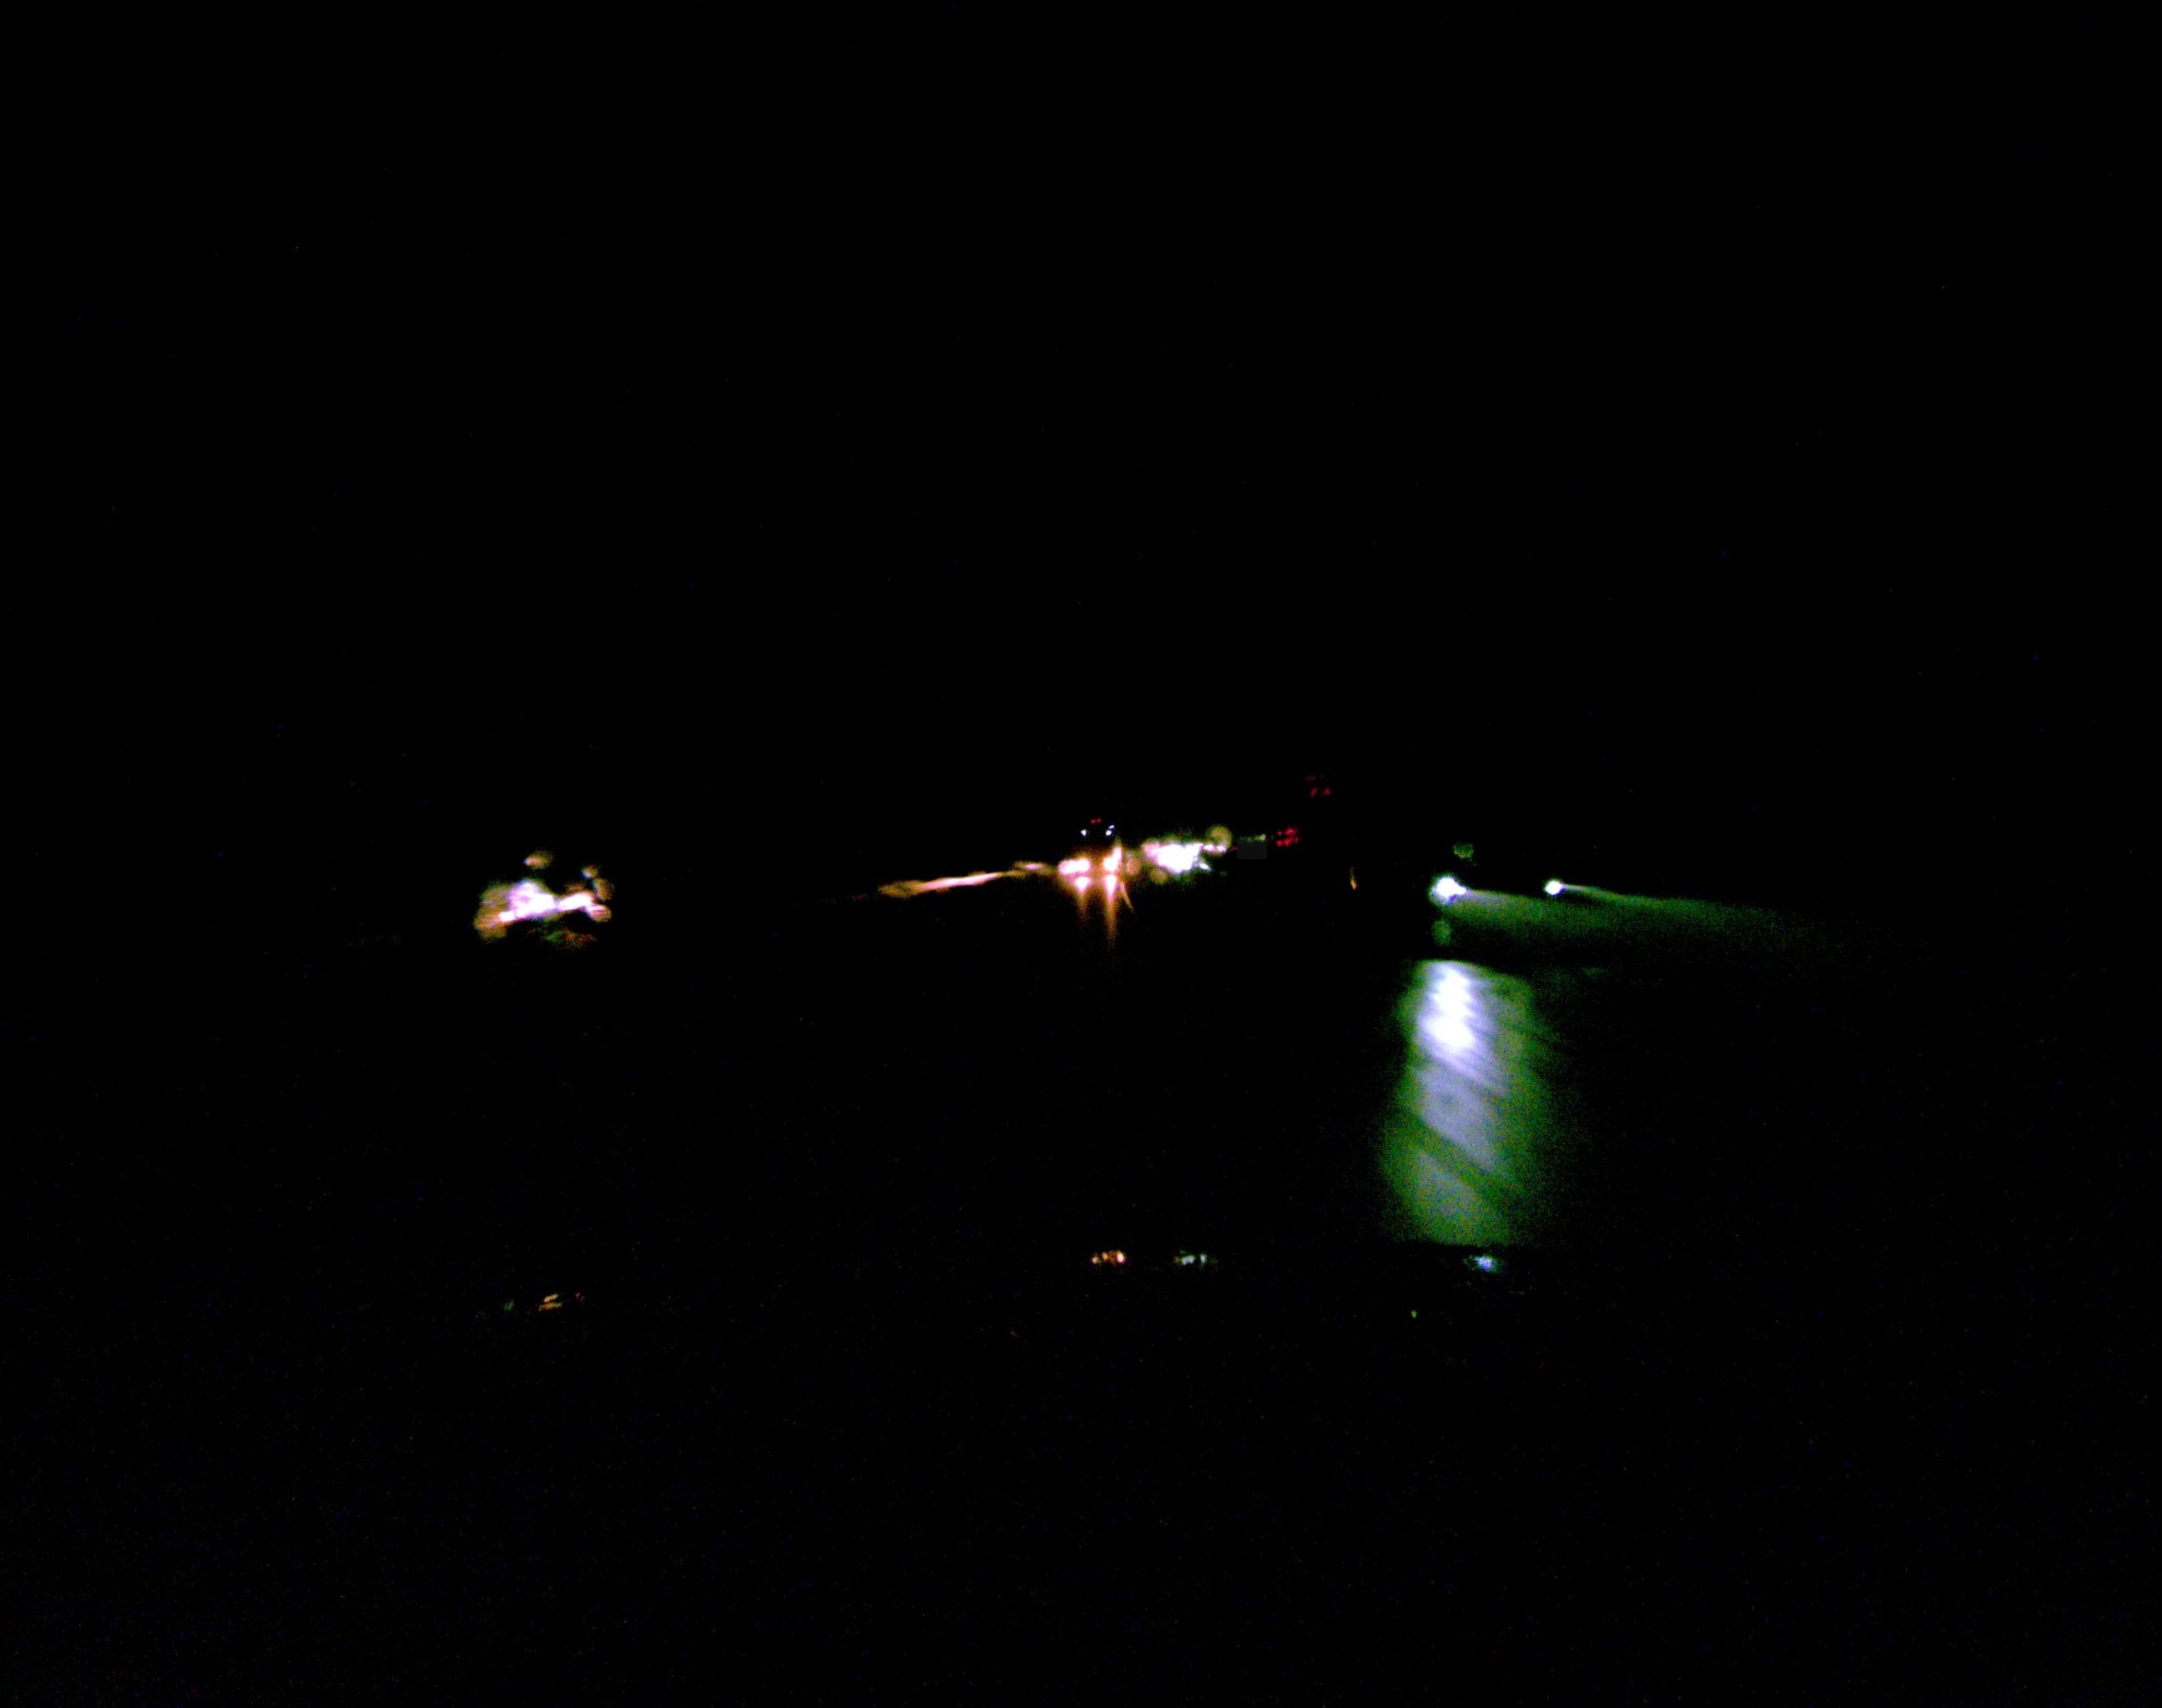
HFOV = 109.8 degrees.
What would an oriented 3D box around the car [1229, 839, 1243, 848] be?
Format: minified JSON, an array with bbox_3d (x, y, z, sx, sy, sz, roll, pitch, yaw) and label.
[{"bbox_3d":[26.133,-1.763,128.301,1.746,1.484,4.001,-2,1,5],"label":"car"}]

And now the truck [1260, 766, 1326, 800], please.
[{"bbox_3d":[28.431,-9.463,102.500,2.419,3.759,11.211,-3,2,-20],"label":"truck"}]

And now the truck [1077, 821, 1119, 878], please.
[{"bbox_3d":[1.442,-0.402,60.355,2.502,4.224,5.984,-2,2,8],"label":"truck"}]

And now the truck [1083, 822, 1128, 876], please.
[{"bbox_3d":[2.387,-0.624,67.116,2.501,4.224,13.646,-2,2,8],"label":"truck"}]

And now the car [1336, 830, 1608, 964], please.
[{"bbox_3d":[6.583,0.638,13.778,2.142,1.873,5.556,-2,0,1],"label":"car"}]

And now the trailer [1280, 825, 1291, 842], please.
[{"bbox_3d":[62.503,-6.372,232.285,2.777,4.947,14.119,-1,2,16],"label":"trailer"}]

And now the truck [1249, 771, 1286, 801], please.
[{"bbox_3d":[26.469,-9.590,107.850,2.419,3.759,5.419,-3,2,-20],"label":"truck"}]
